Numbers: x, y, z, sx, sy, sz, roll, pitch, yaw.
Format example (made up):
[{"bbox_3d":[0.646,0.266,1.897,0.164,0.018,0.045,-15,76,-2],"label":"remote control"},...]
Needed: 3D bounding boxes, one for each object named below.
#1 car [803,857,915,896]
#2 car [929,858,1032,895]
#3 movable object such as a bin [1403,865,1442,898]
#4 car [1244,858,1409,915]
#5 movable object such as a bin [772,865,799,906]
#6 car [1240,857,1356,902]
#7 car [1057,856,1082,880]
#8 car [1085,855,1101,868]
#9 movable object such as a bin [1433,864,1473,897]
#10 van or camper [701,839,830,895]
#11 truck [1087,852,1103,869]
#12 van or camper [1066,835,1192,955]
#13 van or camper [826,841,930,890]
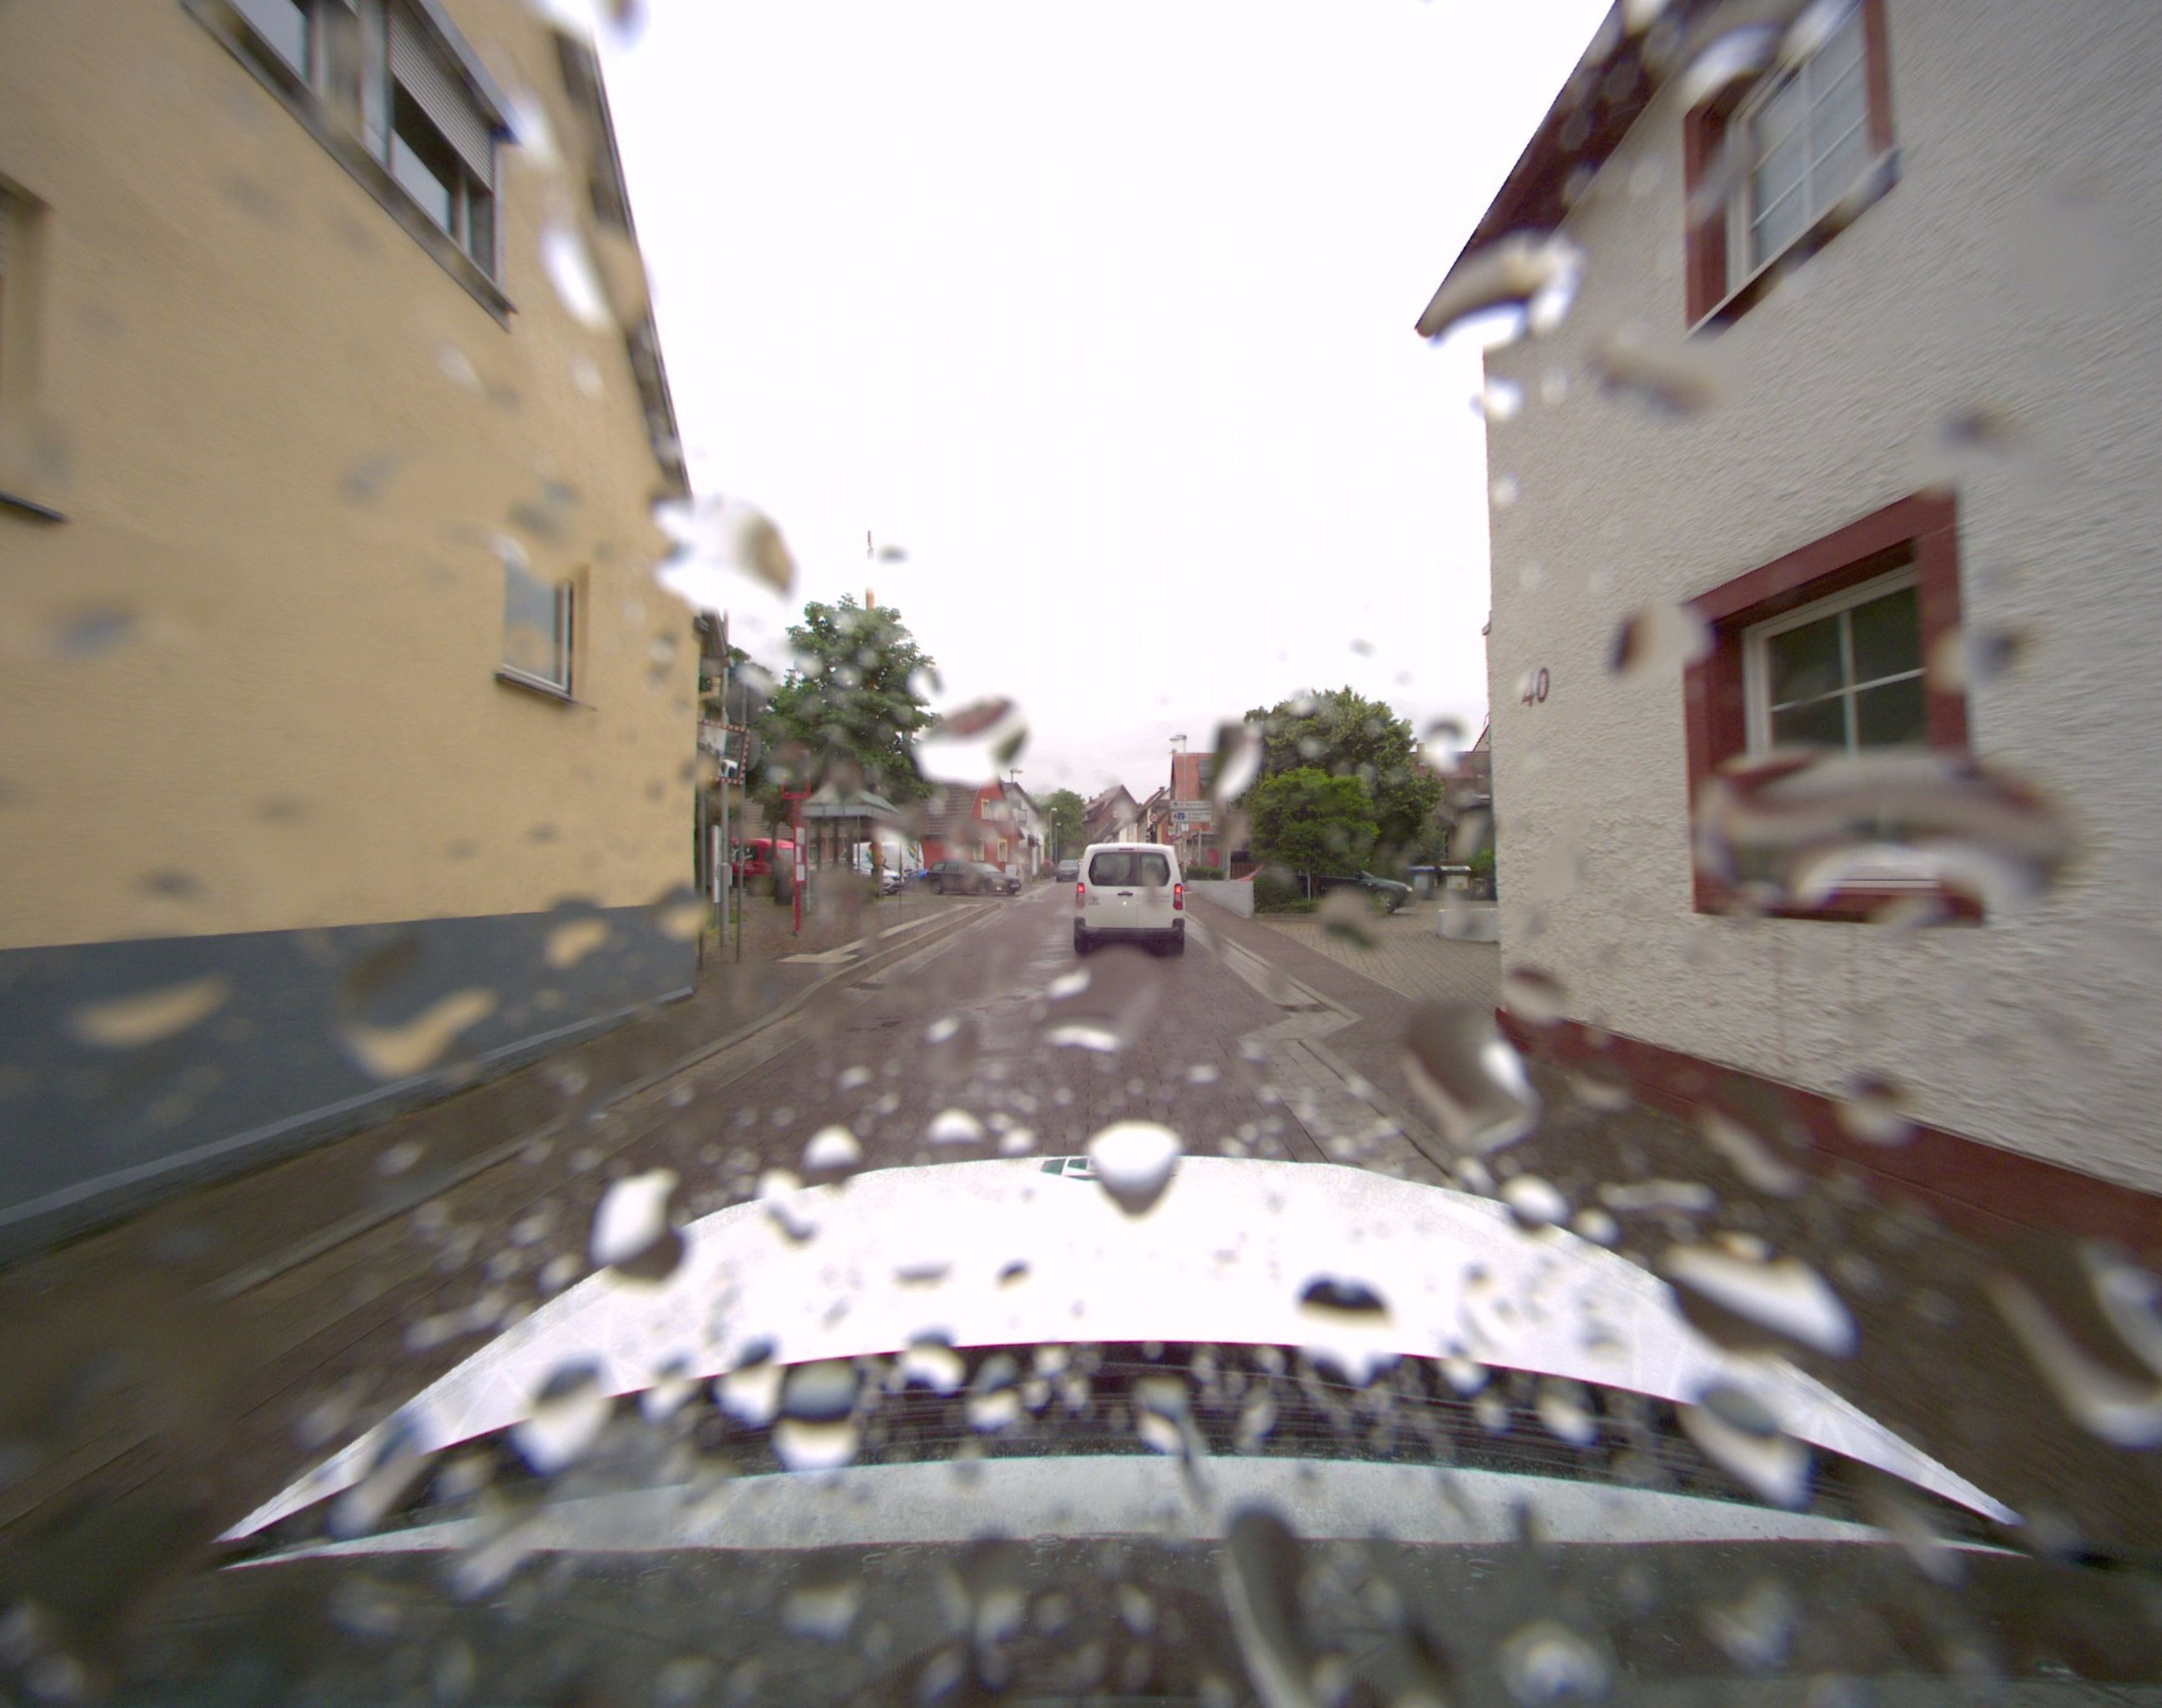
[{"bbox_3d":[-9.630,0.948,35.375,4.408,1.550,1.892,1,0,21],"label":"car"},{"bbox_3d":[-4.365,0.970,34.992,4.258,1.477,1.862,-2,0,37],"label":"car"},{"bbox_3d":[14.564,1.149,34.752,1.237,1.357,1.156,0,-1,2],"label":"movable object such as a bin"},{"bbox_3d":[6.740,0.887,22.597,4.196,1.480,1.702,-1,-1,16],"label":"car"},{"bbox_3d":[-8.483,0.905,23.363,0.560,1.146,0.604,-1,-3,-2],"label":"movable object such as a bin"},{"bbox_3d":[8.076,0.943,30.415,4.038,1.589,1.865,-1,-1,15],"label":"car"},{"bbox_3d":[-0.858,1.054,63.100,1.806,1.779,4.016,-1,0,-1],"label":"car"},{"bbox_3d":[1.662,1.072,112.865,1.988,1.747,3.998,0,0,-1],"label":"car"},{"bbox_3d":[15.838,1.113,34.689,1.237,1.357,1.156,0,-1,2],"label":"movable object such as a bin"},{"bbox_3d":[-14.737,0.587,37.940,5.804,2.473,2.168,-1,0,26],"label":"van or camper"},{"bbox_3d":[2.154,0.972,125.623,2.344,2.425,4.947,0,0,-1],"label":"truck"},{"bbox_3d":[0.743,0.635,14.534,1.937,1.851,3.999,0,0,0],"label":"van or camper"},{"bbox_3d":[-10.859,0.616,43.528,5.094,2.435,2.224,-1,0,26],"label":"van or camper"}]
